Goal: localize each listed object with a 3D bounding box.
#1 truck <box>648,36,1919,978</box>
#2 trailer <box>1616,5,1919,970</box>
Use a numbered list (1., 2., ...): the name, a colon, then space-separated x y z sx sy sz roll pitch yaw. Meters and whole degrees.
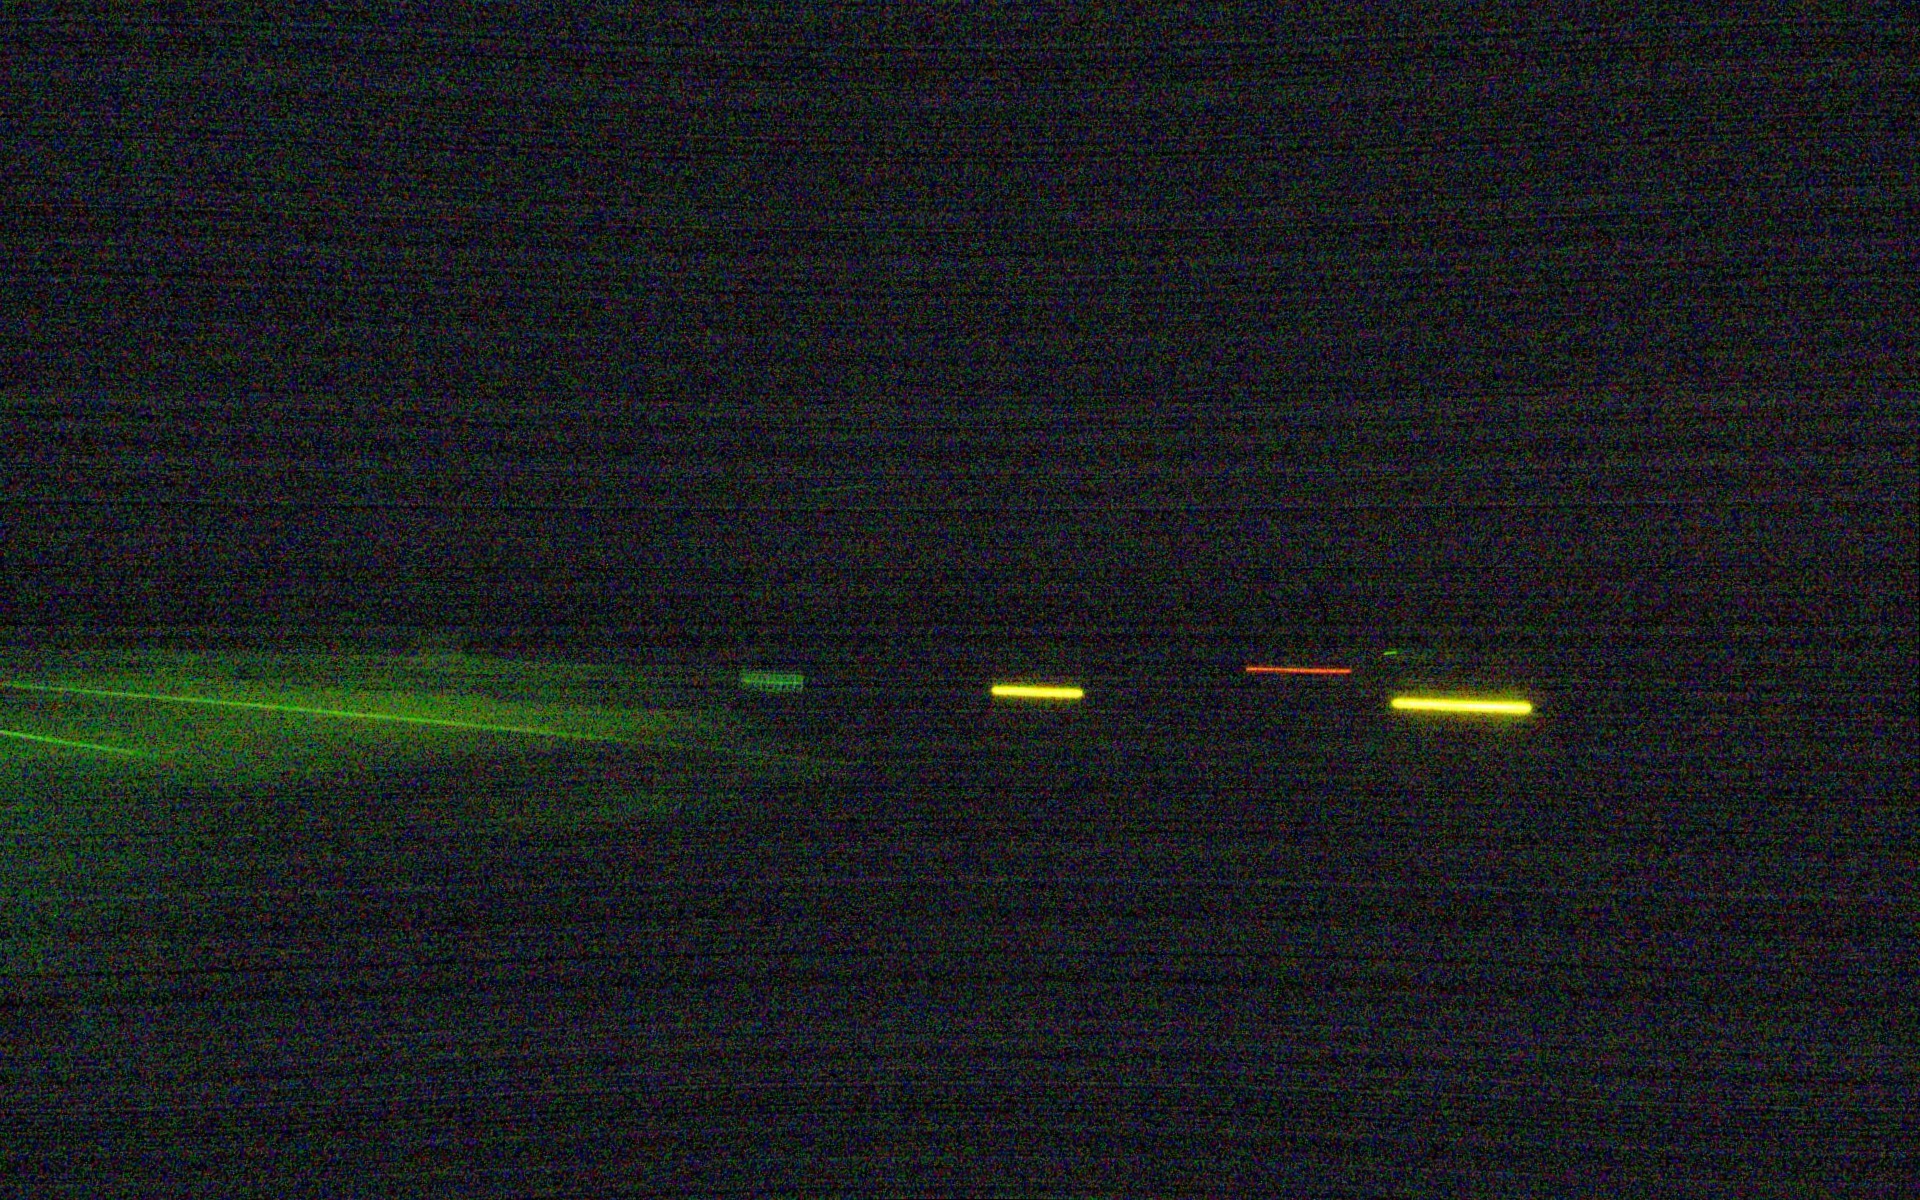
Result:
1. truck: 1.464 -0.299 7.500 7.942 3.888 2.861 -1 -2 34
2. trailer: 9.222 -0.580 2.385 12.708 3.981 2.868 -2 -2 33
